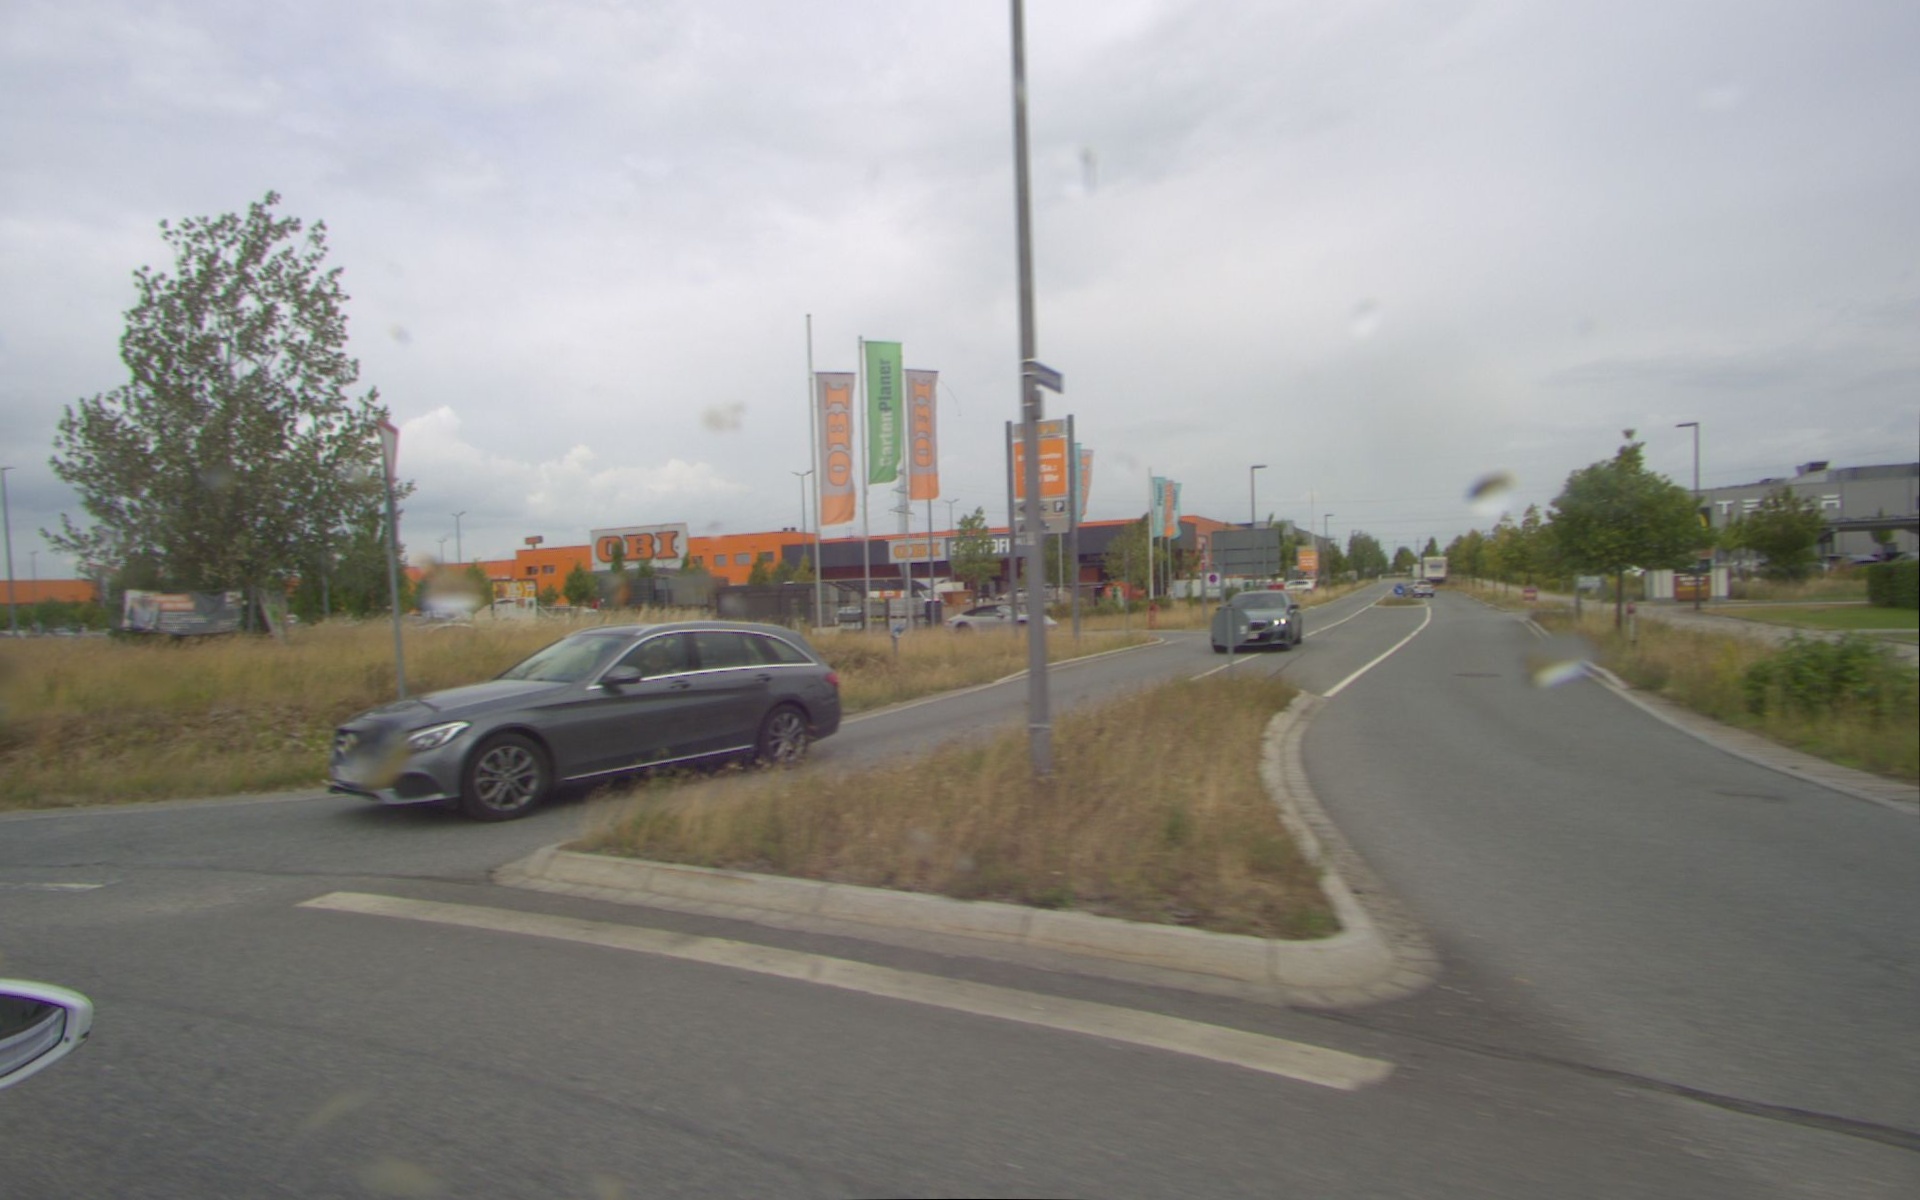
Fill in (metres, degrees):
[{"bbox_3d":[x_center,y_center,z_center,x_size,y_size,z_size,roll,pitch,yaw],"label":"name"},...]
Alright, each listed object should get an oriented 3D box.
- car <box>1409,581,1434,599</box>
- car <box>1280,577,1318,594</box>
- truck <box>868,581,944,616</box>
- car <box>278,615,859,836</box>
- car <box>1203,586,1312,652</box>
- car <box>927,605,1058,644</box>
[{"bbox_3d":[39.382,-0.843,85.509,1.783,1.484,3.987,2,2,24],"label":"car"},{"bbox_3d":[32.405,-1.411,95.866,3.092,1.466,1.411,-2,-1,-3],"label":"car"},{"bbox_3d":[-4.283,-0.098,79.521,5.455,2.516,2.435,-3,-1,21],"label":"truck"},{"bbox_3d":[-3.196,0.895,9.145,1.904,1.422,4.657,-2,-1,36],"label":"car"},{"bbox_3d":[7.947,0.491,26.441,1.969,1.526,4.665,-3,-1,26],"label":"car"},{"bbox_3d":[1.240,0.921,38.280,4.677,1.422,1.739,-1,0,22],"label":"car"}]
